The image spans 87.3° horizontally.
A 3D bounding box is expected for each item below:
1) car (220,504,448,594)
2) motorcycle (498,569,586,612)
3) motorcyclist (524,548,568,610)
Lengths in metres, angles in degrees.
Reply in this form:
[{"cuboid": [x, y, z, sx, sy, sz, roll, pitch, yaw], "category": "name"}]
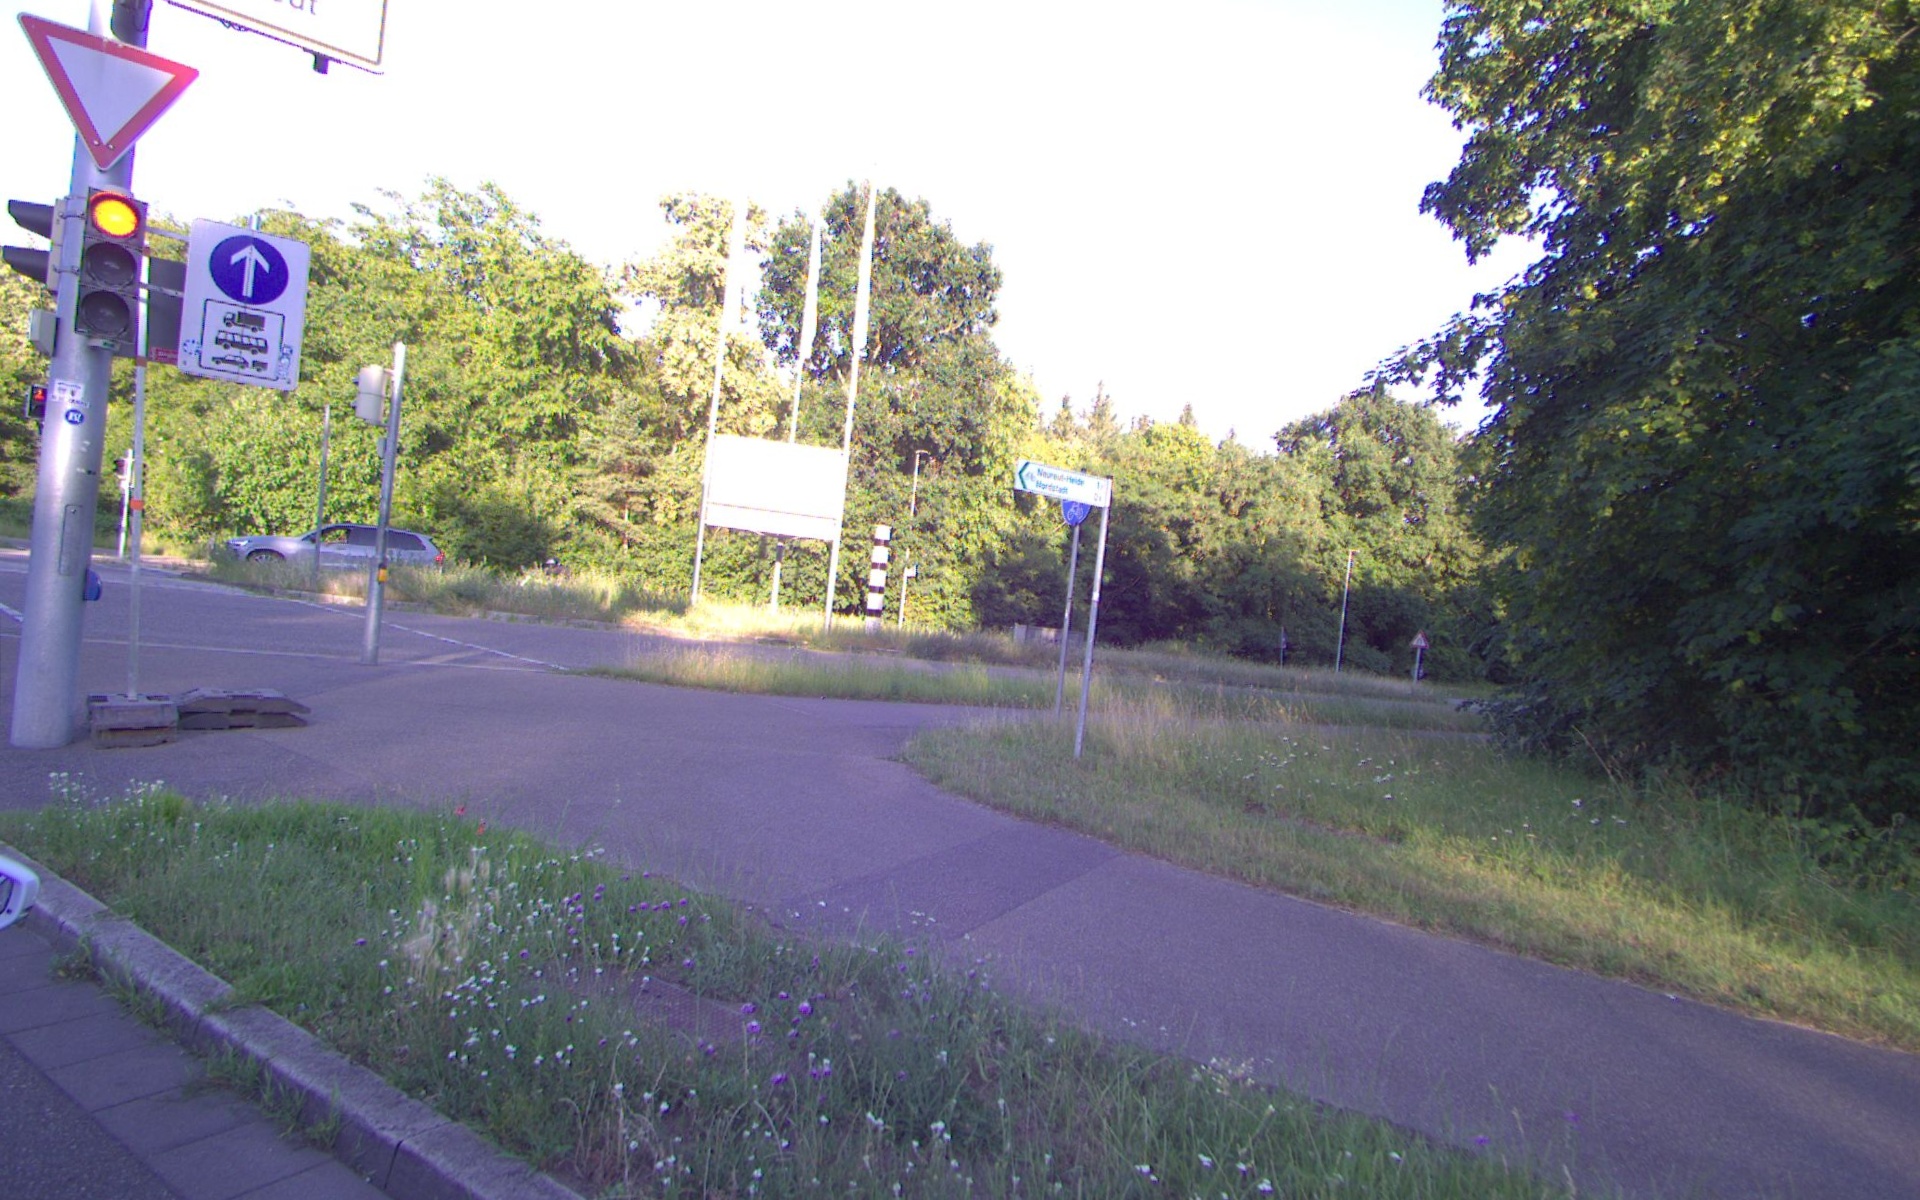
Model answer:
[{"cuboid": [-16.224, -1.284, 26.200, 4.790, 1.618, 1.980, 7, 0, -37], "category": "car"}, {"cuboid": [-11.727, -0.259, 28.284, 2.133, 0.921, 0.655, 7, 0, -37], "category": "motorcycle"}, {"cuboid": [-11.653, -0.595, 28.301, 0.881, 1.614, 0.648, 6, 0, -37], "category": "motorcyclist"}]
